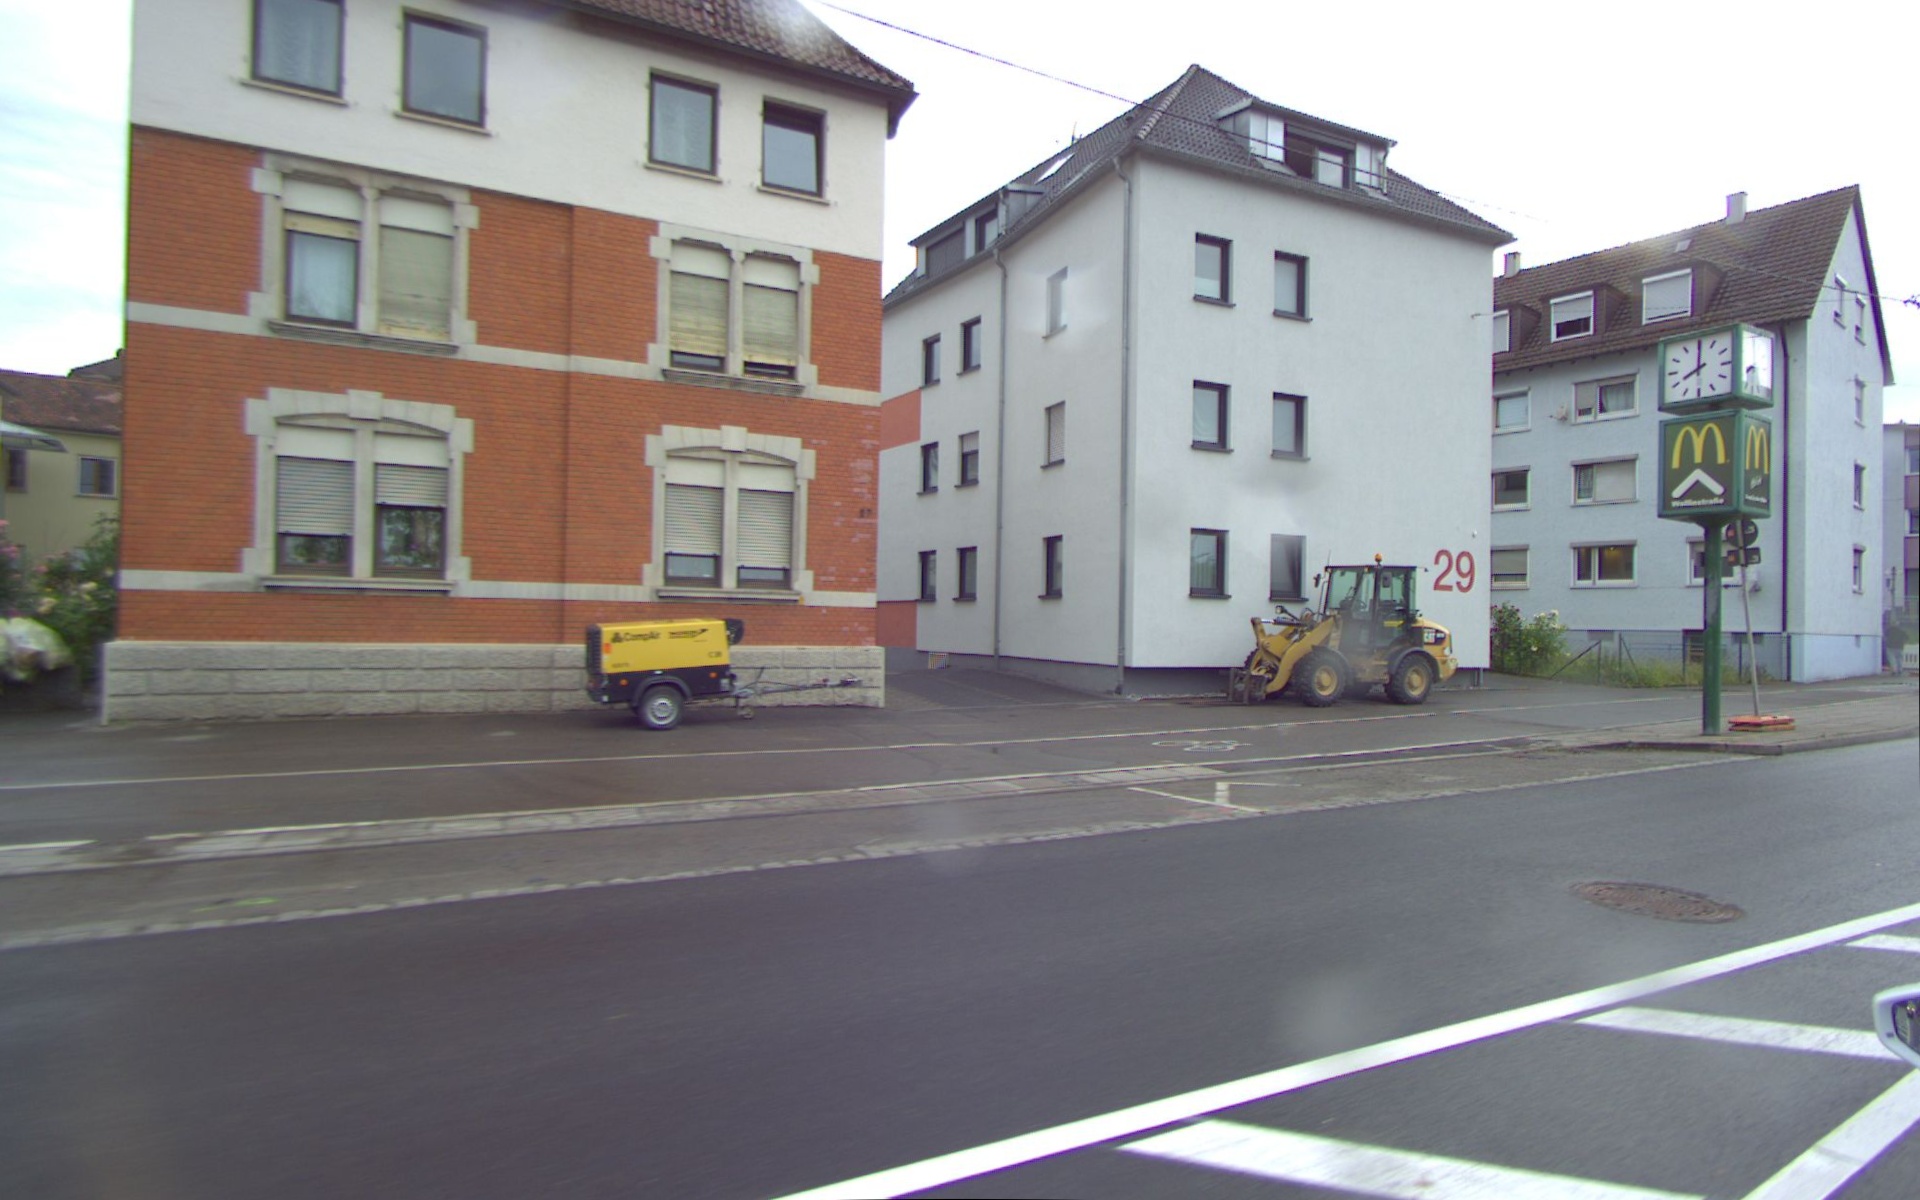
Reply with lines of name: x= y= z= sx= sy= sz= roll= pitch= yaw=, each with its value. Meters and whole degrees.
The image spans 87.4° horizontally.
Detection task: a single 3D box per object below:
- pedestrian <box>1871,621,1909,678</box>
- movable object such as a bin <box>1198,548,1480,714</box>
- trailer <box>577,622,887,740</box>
pedestrian: x=30.608 y=1.613 z=33.058 sx=1.107 sy=1.846 sz=0.799 roll=1 pitch=0 yaw=-41
movable object such as a bin: x=7.229 y=0.538 z=19.163 sx=4.907 sy=2.844 sz=2.124 roll=1 pitch=1 yaw=-23
trailer: x=-3.068 y=1.034 z=13.676 sx=3.942 sy=1.417 sz=1.320 roll=1 pitch=0 yaw=-25
